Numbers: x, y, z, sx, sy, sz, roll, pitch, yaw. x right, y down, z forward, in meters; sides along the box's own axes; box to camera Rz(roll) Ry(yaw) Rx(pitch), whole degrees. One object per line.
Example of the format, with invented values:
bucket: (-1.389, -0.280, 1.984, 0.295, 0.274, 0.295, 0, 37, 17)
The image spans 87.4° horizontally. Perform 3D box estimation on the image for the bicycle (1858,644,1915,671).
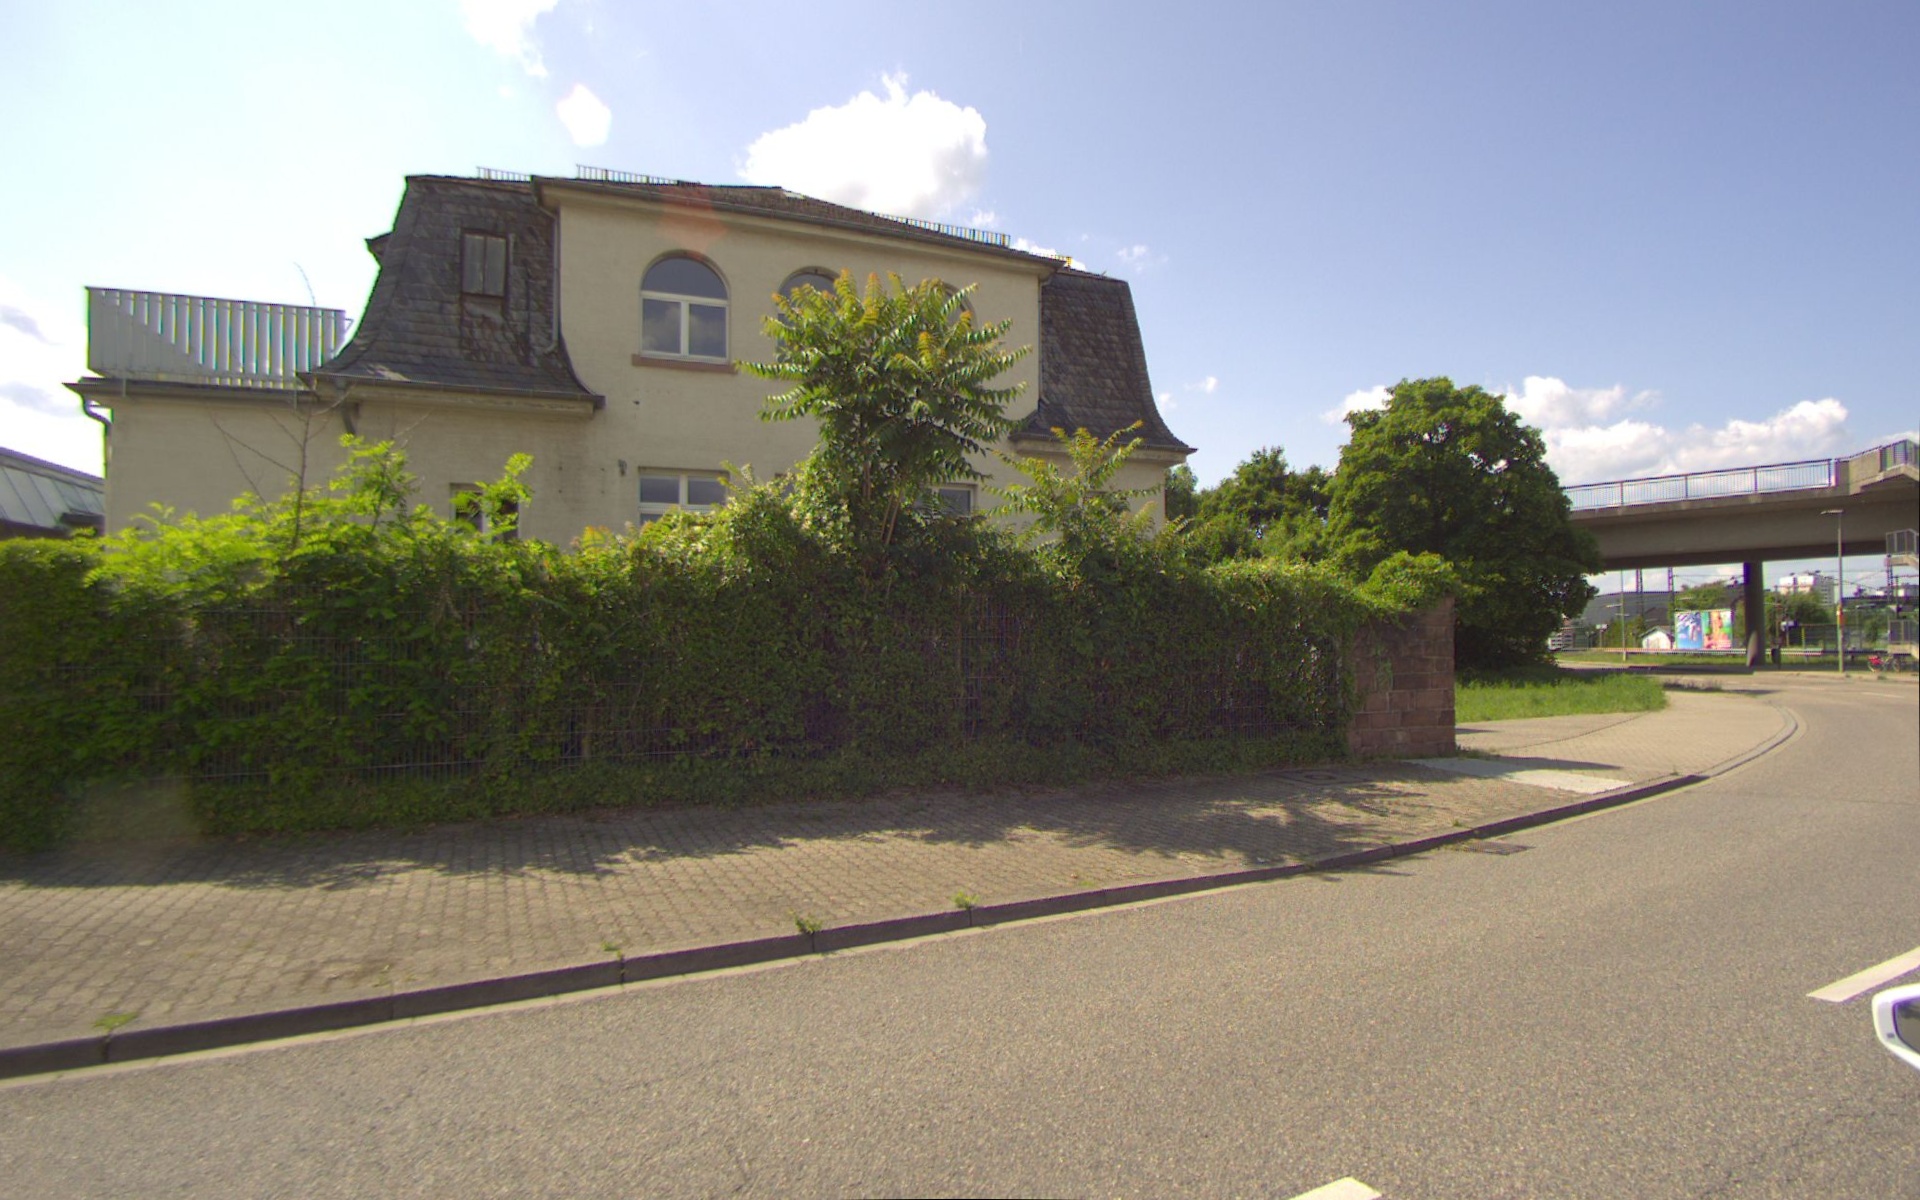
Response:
bicycle: (40.292, 2.487, 43.717, 0.632, 1.122, 2.193, -2, -3, 8)
